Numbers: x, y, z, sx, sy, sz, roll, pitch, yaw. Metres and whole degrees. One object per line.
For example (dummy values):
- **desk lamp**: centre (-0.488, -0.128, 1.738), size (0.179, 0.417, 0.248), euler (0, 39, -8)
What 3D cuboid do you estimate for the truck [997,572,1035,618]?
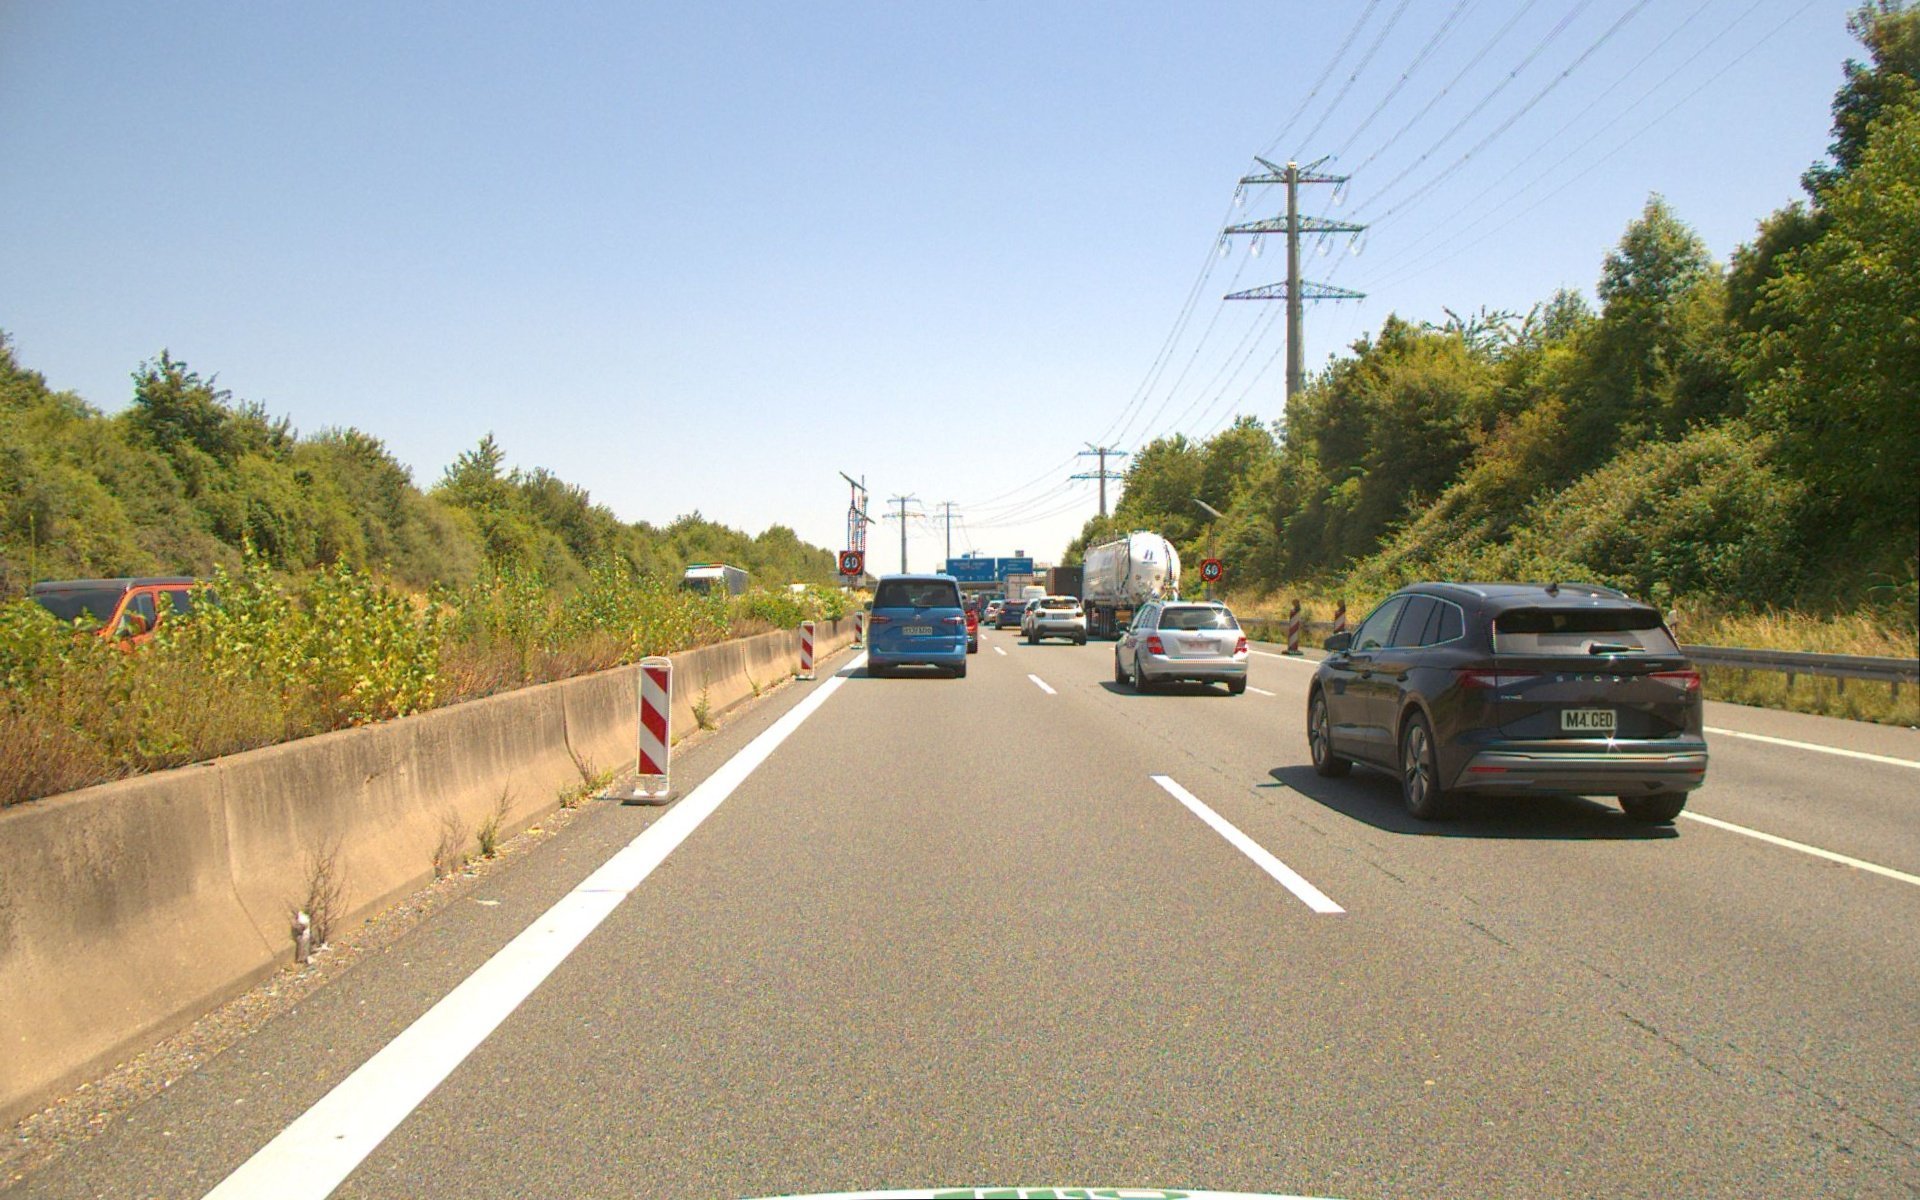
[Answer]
- **truck**: centre (5.511, -0.474, 163.787), size (2.879, 4.366, 12.547), euler (1, 0, -2)

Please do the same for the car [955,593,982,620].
- **car**: centre (0.646, 0.484, 131.188), size (1.953, 2.049, 3.998), euler (1, 0, -2)

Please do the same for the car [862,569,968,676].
- **car**: centre (-0.941, 0.414, 32.082), size (1.834, 1.912, 4.379), euler (1, 0, -4)

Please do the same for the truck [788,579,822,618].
- **truck**: centre (-16.489, -0.131, 176.415), size (2.707, 3.956, 9.027), euler (-3, 0, -1)

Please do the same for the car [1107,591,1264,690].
- **car**: centre (3.621, 0.622, 27.302), size (1.784, 1.462, 4.381), euler (1, 0, -3)

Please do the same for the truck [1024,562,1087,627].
- **truck**: centre (5.602, -0.274, 98.955), size (2.591, 3.600, 12.547), euler (1, 0, -2)

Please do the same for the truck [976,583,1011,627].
- **truck**: centre (2.187, 0.313, 108.308), size (1.953, 2.771, 5.678), euler (1, 0, -2)

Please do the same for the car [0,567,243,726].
- **car**: centre (-12.724, 0.630, 24.883), size (1.953, 2.133, 4.605), euler (-1, 0, -2)

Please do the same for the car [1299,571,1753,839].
- **car**: centre (3.965, 0.645, 12.459), size (1.791, 1.643, 4.429), euler (1, 0, -2)

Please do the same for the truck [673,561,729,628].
- **truck**: centre (-17.270, -0.349, 110.583), size (2.696, 4.239, 6.409), euler (-3, 0, -1)

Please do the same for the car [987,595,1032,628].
- **car**: centre (2.385, 0.550, 81.175), size (1.870, 1.542, 4.381), euler (1, 0, -3)

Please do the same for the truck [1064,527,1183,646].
- **truck**: centre (6.276, -0.465, 66.368), size (2.591, 4.143, 16.434), euler (1, 0, -2)

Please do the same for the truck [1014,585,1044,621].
- **truck**: centre (5.569, 0.230, 133.824), size (1.953, 2.771, 5.678), euler (1, 0, -2)

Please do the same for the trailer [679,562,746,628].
- **trailer**: centre (-17.410, -0.332, 117.276), size (2.697, 4.239, 14.193), euler (-3, 0, -1)

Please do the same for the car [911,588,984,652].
- **car**: centre (-0.385, 0.521, 45.299), size (1.870, 1.659, 4.382), euler (0, 0, -2)

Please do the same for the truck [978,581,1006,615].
- **truck**: centre (4.158, -0.225, 217.541), size (2.879, 4.366, 12.547), euler (1, 0, -2)

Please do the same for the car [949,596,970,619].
- **car**: centre (-0.067, 0.711, 153.812), size (1.953, 2.049, 3.999), euler (1, 0, 0)

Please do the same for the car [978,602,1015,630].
- **car**: centre (2.097, 0.910, 95.914), size (1.870, 1.542, 4.381), euler (1, 0, -3)

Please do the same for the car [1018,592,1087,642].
- **car**: centre (2.990, 0.550, 54.167), size (1.870, 1.534, 3.919), euler (1, 0, -3)

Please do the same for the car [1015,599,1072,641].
- **car**: centre (3.342, 0.798, 66.918), size (1.870, 1.597, 4.381), euler (1, 0, -3)
